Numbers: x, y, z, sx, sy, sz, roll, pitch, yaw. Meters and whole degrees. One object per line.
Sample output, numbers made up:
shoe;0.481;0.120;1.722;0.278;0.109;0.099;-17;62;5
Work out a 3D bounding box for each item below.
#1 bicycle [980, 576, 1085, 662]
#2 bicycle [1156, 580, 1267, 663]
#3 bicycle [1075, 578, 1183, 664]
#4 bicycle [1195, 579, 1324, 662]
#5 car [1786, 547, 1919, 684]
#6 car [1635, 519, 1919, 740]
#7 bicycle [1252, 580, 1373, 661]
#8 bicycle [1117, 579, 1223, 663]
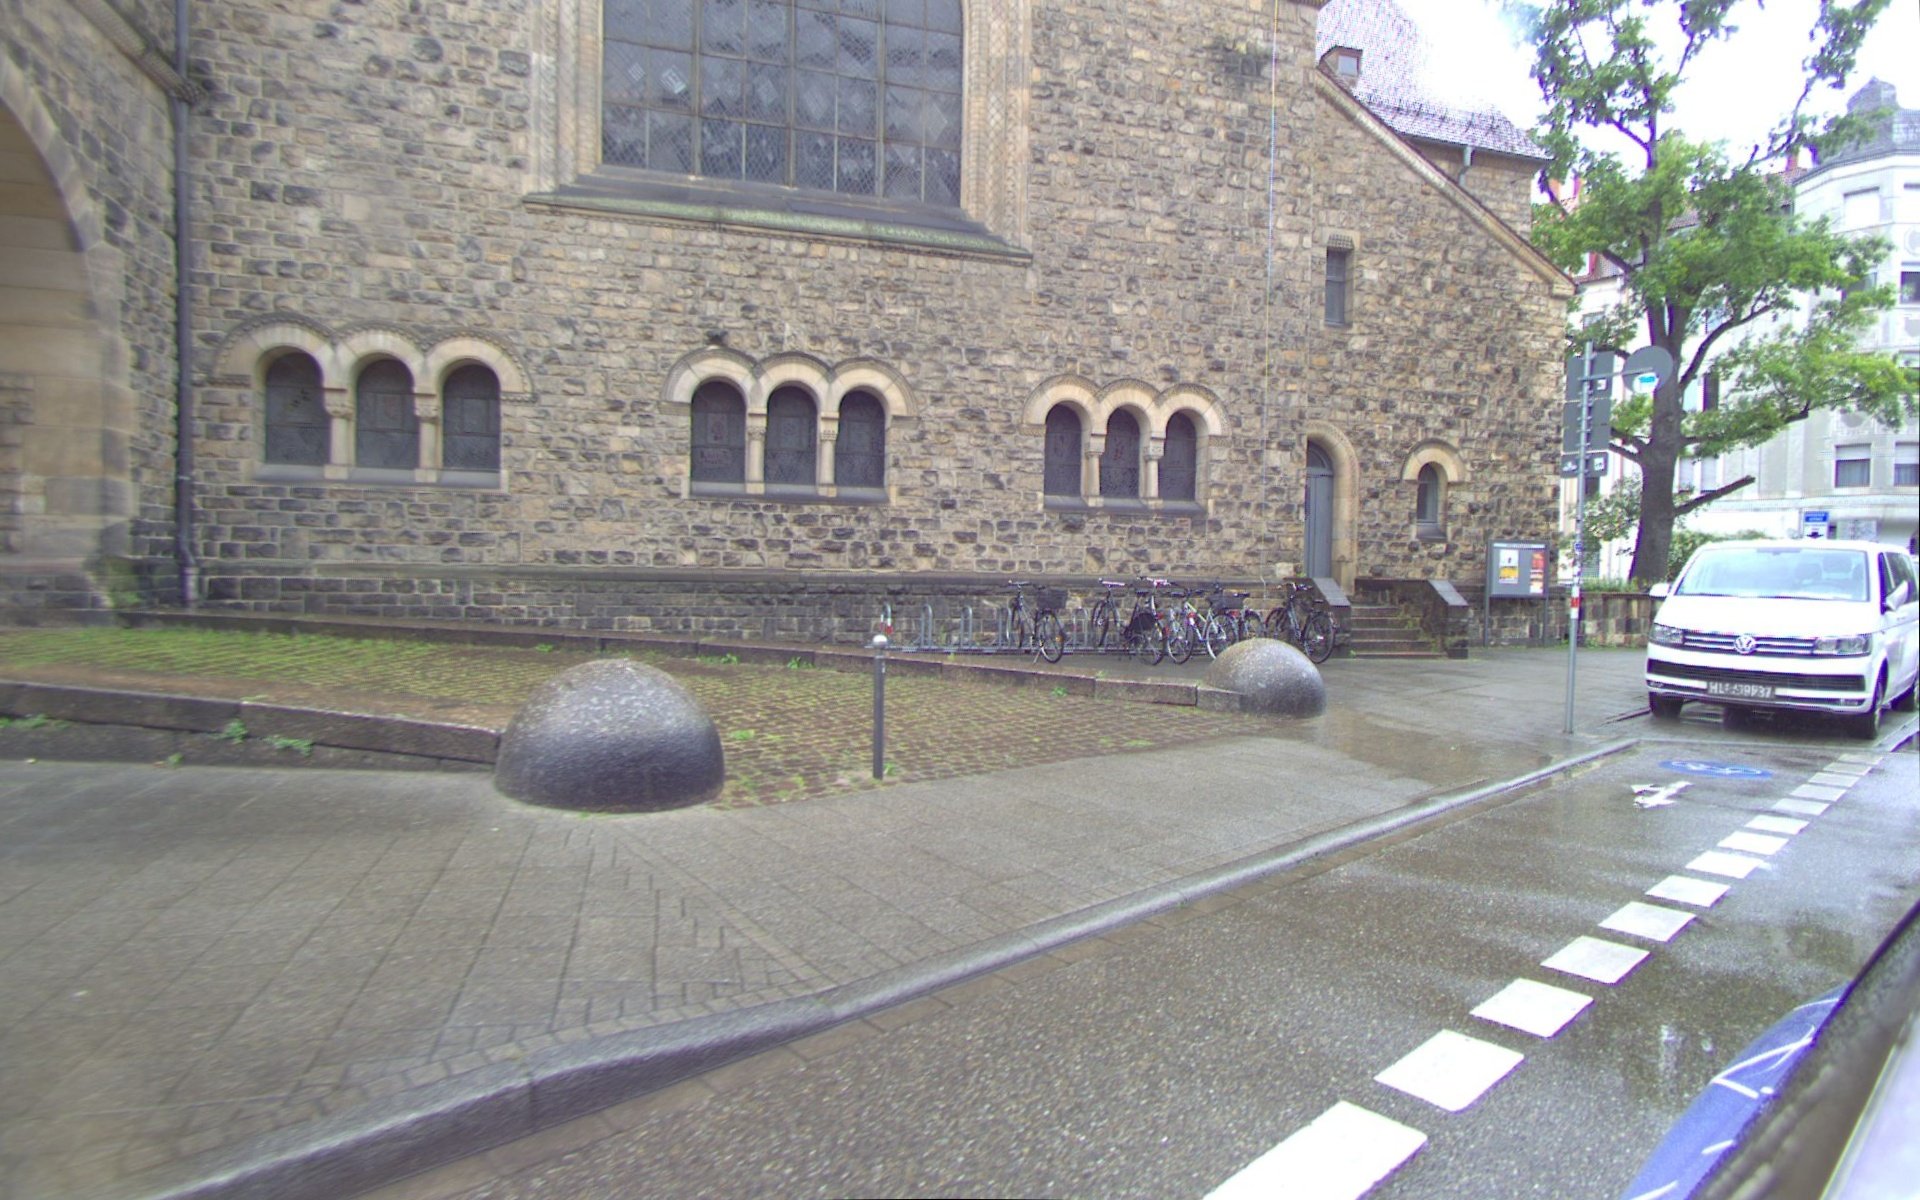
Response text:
bicycle;0.960;0.226;14.030;0.564;1.062;2.014;0;2;-23
bicycle;3.589;0.271;14.619;0.569;1.073;1.933;1;2;-19
bicycle;2.332;0.256;14.240;0.569;1.073;1.933;1;2;-21
bicycle;4.340;0.259;14.866;0.663;1.073;2.161;1;2;-19
car;14.420;0.175;15.625;4.220;1.868;1.836;-1;3;-41
car;9.533;0.194;11.349;5.180;1.946;1.908;-1;3;-41
bicycle;5.220;0.269;15.143;0.593;1.079;1.988;1;2;-18
bicycle;2.963;0.261;14.480;0.569;1.073;1.933;1;2;-19
